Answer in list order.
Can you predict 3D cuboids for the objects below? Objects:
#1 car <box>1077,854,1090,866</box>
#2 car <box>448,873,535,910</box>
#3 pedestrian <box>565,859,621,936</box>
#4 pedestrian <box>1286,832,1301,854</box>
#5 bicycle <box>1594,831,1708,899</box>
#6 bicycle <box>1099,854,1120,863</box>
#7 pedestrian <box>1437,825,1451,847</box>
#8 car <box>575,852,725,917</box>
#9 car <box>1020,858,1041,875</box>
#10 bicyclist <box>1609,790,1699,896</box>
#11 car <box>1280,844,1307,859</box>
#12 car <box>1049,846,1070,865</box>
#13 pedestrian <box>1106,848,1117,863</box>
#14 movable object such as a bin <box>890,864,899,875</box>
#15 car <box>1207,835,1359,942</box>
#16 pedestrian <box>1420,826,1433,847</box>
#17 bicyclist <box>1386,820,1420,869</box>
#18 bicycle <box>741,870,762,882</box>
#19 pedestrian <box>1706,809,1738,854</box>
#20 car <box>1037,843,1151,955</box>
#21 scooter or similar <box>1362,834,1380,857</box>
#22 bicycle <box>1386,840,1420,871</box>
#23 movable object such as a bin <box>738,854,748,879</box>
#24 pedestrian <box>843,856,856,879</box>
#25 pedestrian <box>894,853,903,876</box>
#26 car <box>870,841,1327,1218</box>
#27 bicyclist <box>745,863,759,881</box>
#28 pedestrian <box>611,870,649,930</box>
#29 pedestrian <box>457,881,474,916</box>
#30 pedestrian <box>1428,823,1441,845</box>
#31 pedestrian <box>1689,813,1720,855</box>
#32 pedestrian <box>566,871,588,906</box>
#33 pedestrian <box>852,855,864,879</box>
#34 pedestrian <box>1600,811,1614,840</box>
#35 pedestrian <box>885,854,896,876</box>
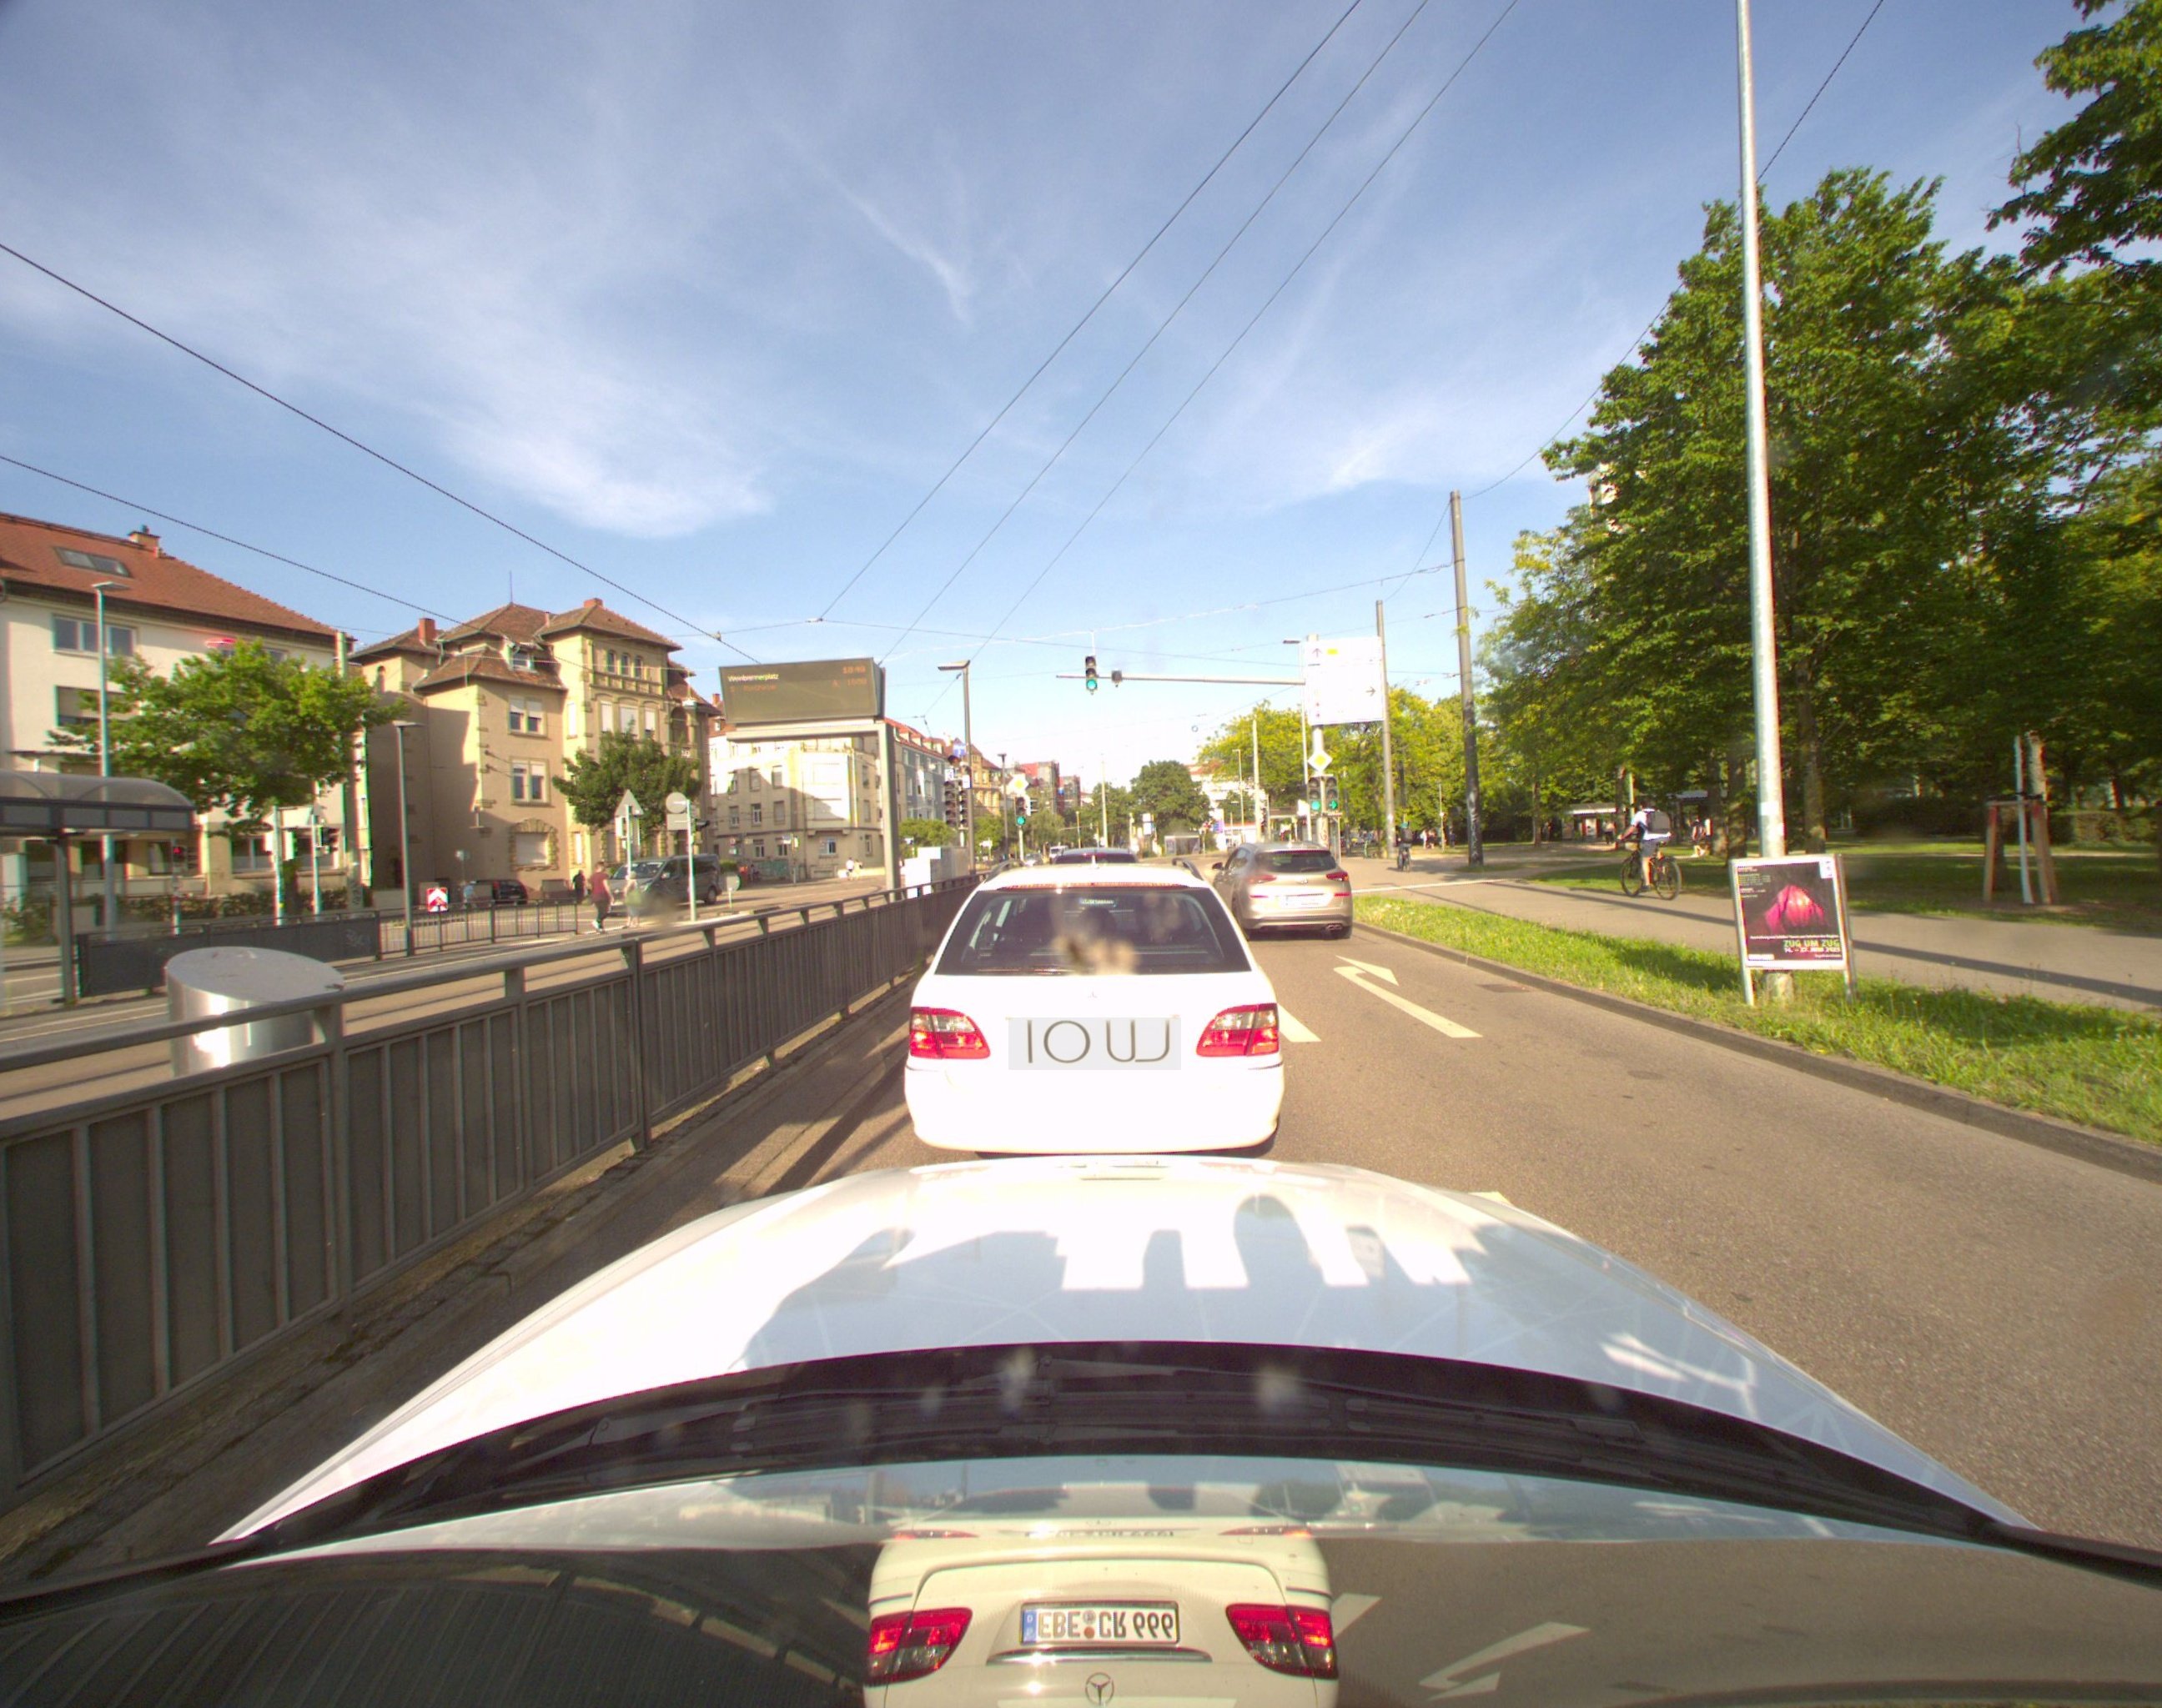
[{"bbox_3d":[0.354,0.917,121.830,1.760,1.494,4.746,-3,2,1],"label":"car"},{"bbox_3d":[-29.361,1.882,40.588,3.950,1.632,1.787,-3,1,26],"label":"car"},{"bbox_3d":[-11.132,0.973,18.610,0.668,1.670,0.883,-3,0,-1],"label":"pedestrian"},{"bbox_3d":[20.444,-1.057,78.448,0.986,2.013,0.833,-3,0,45],"label":"pedestrian"},{"bbox_3d":[10.222,0.187,14.700,0.638,1.088,1.940,-5,0,1],"label":"bicycle"},{"bbox_3d":[3.162,0.514,90.303,2.000,0.947,0.884,-3,0,21],"label":"bicycle"},{"bbox_3d":[27.664,-1.353,62.078,0.638,1.665,0.691,-3,0,1],"label":"pedestrian"},{"bbox_3d":[-15.376,1.017,29.509,2.135,2.013,5.395,-3,0,5],"label":"car"},{"bbox_3d":[-5.329,1.345,86.519,1.670,1.525,4.128,-3,1,3],"label":"car"},{"bbox_3d":[10.185,-0.187,14.531,0.647,1.745,1.140,-6,0,1],"label":"bicyclist"},{"bbox_3d":[24.631,-0.327,94.344,1.835,1.515,4.026,-4,0,32],"label":"car"},{"bbox_3d":[-2.761,0.134,104.377,2.168,2.239,5.257,-3,0,3],"label":"car"},{"bbox_3d":[3.386,0.171,90.221,0.998,1.591,0.870,-3,0,21],"label":"pedestrian"},{"bbox_3d":[-16.178,1.360,70.718,0.580,0.947,0.664,-3,0,4],"label":"movable object such as a bin"},{"bbox_3d":[3.408,0.524,14.442,1.828,1.600,3.817,-1,0,2],"label":"car"},{"bbox_3d":[27.196,-1.337,64.112,0.638,1.610,0.691,-3,0,1],"label":"pedestrian"},{"bbox_3d":[12.083,-0.355,30.589,0.716,1.745,1.142,-6,0,5],"label":"bicyclist"},{"bbox_3d":[-29.999,2.026,74.124,1.971,1.006,0.747,-3,0,33],"label":"bicycle"},{"bbox_3d":[27.253,-0.939,34.639,0.668,1.897,0.880,-1,0,3],"label":"pedestrian"},{"bbox_3d":[0.250,0.649,13.780,1.635,1.600,3.817,-1,0,2],"label":"car"},{"bbox_3d":[16.113,-0.448,45.227,0.351,1.232,1.131,-3,0,-12],"label":"scooter or similar"},{"bbox_3d":[12.142,0.036,30.748,0.637,1.088,1.736,-5,0,6],"label":"bicycle"},{"bbox_3d":[-23.598,0.899,56.812,0.265,1.709,2.360,-3,0,-29],"label":"movable object such as a bin"},{"bbox_3d":[-18.790,1.093,66.171,0.653,1.881,0.629,-3,0,16],"label":"pedestrian"},{"bbox_3d":[-15.667,0.907,69.857,0.582,1.880,0.626,-3,1,-1],"label":"pedestrian"},{"bbox_3d":[0.128,0.710,5.219,1.828,1.501,3.817,-1,0,2],"label":"car"},{"bbox_3d":[-29.895,1.672,74.033,1.029,1.569,0.666,-3,0,33],"label":"bicyclist"},{"bbox_3d":[-12.483,1.259,22.573,0.588,1.589,0.715,-3,0,-2],"label":"pedestrian"},{"bbox_3d":[-27.695,2.001,36.639,0.400,1.515,0.392,-3,0,28],"label":"pedestrian"},{"bbox_3d":[27.439,-1.537,63.258,0.638,1.665,0.691,-3,0,1],"label":"pedestrian"},{"bbox_3d":[26.346,-0.840,34.425,0.668,1.777,0.881,-1,0,3],"label":"pedestrian"},{"bbox_3d":[-25.123,1.718,40.573,0.672,1.651,0.608,-3,0,28],"label":"pedestrian"},{"bbox_3d":[-17.997,1.052,65.719,0.672,1.848,0.649,-3,0,-1],"label":"pedestrian"},{"bbox_3d":[33.522,-1.812,51.874,0.463,1.868,0.600,0,-1,-27],"label":"pedestrian"},{"bbox_3d":[-16.317,0.945,69.759,0.582,1.881,0.627,-3,0,4],"label":"pedestrian"}]
